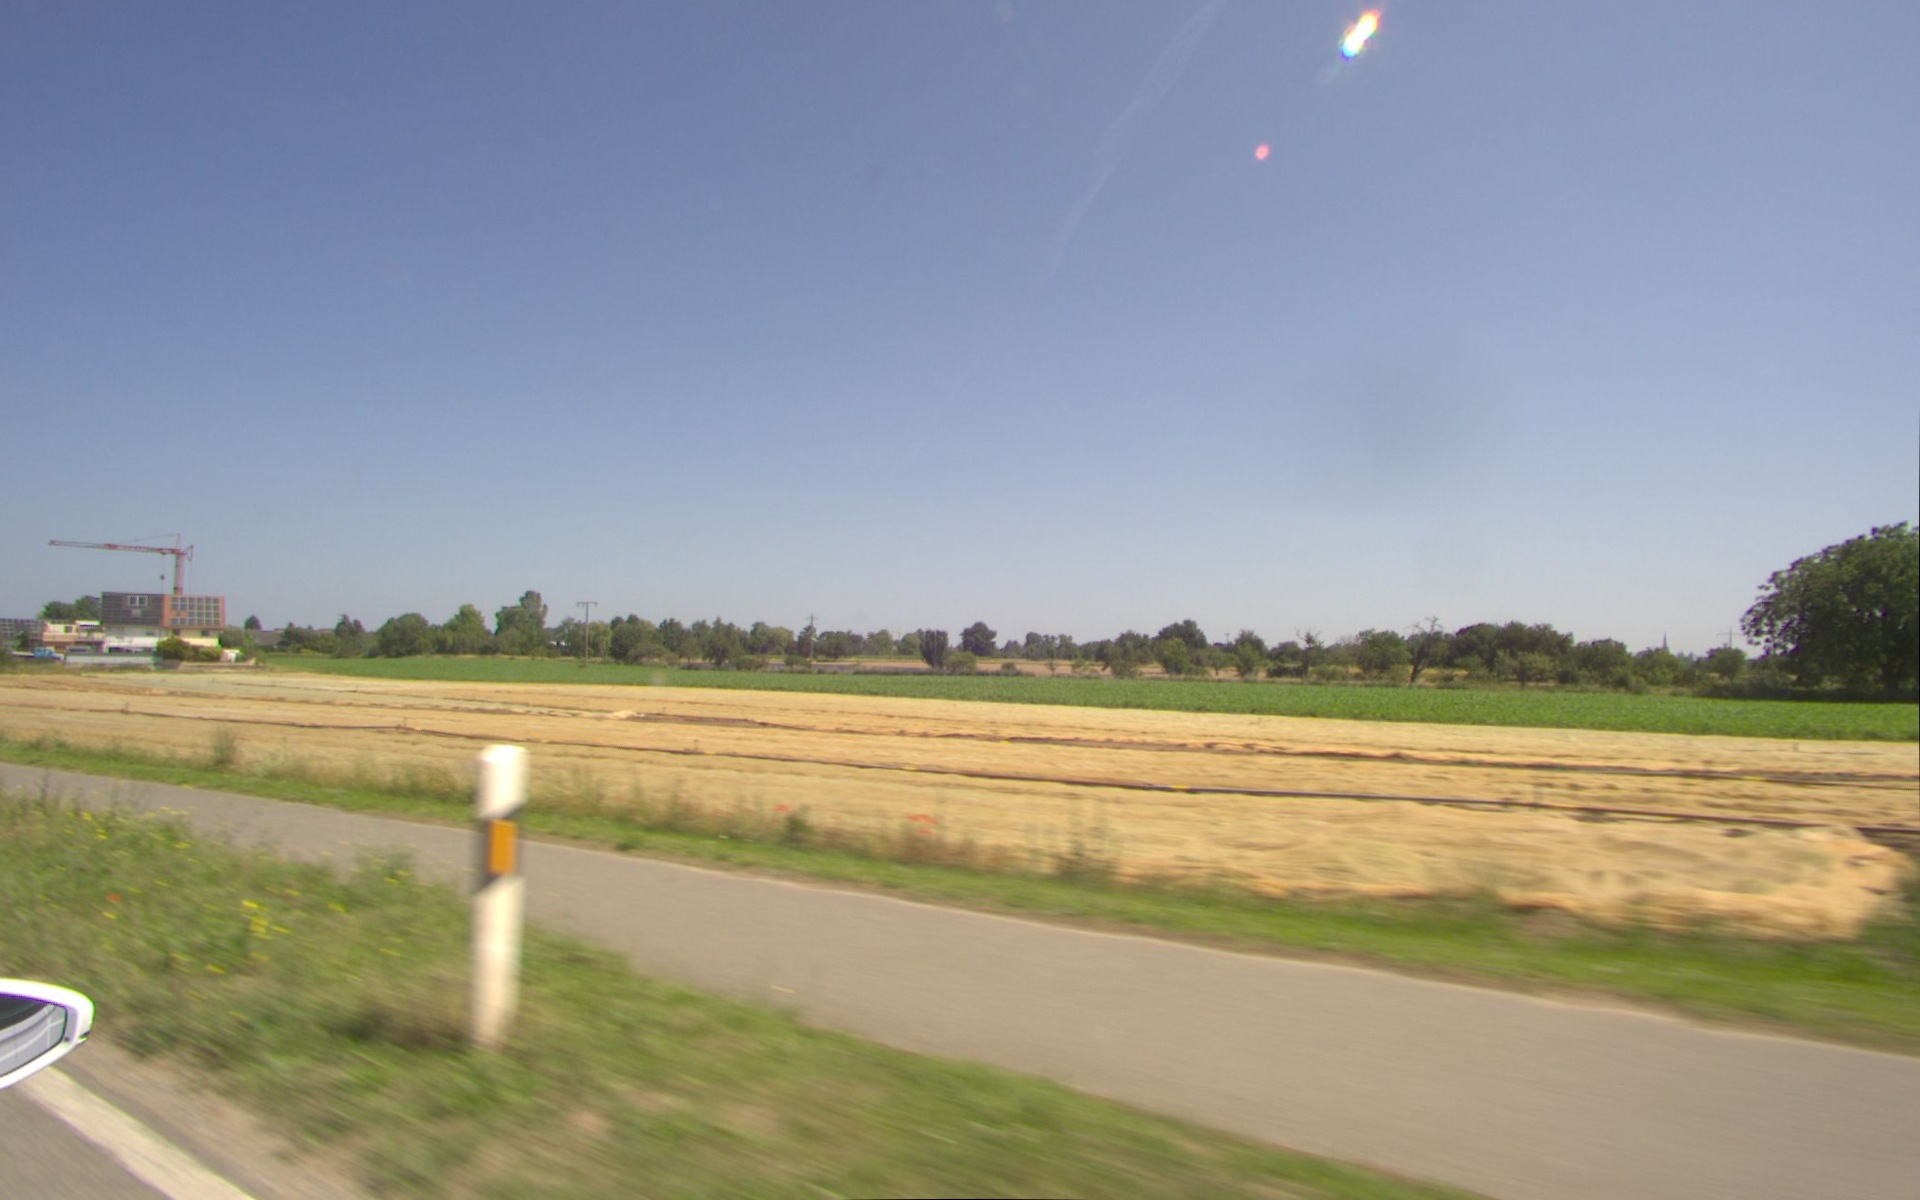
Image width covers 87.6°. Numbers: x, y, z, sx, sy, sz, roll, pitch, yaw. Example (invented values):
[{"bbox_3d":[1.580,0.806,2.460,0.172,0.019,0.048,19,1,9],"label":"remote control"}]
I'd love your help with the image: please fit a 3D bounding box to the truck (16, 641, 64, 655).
[{"bbox_3d":[-147.285,7.688,160.348,5.510,2.257,2.198,3,-3,-39],"label":"truck"}]
